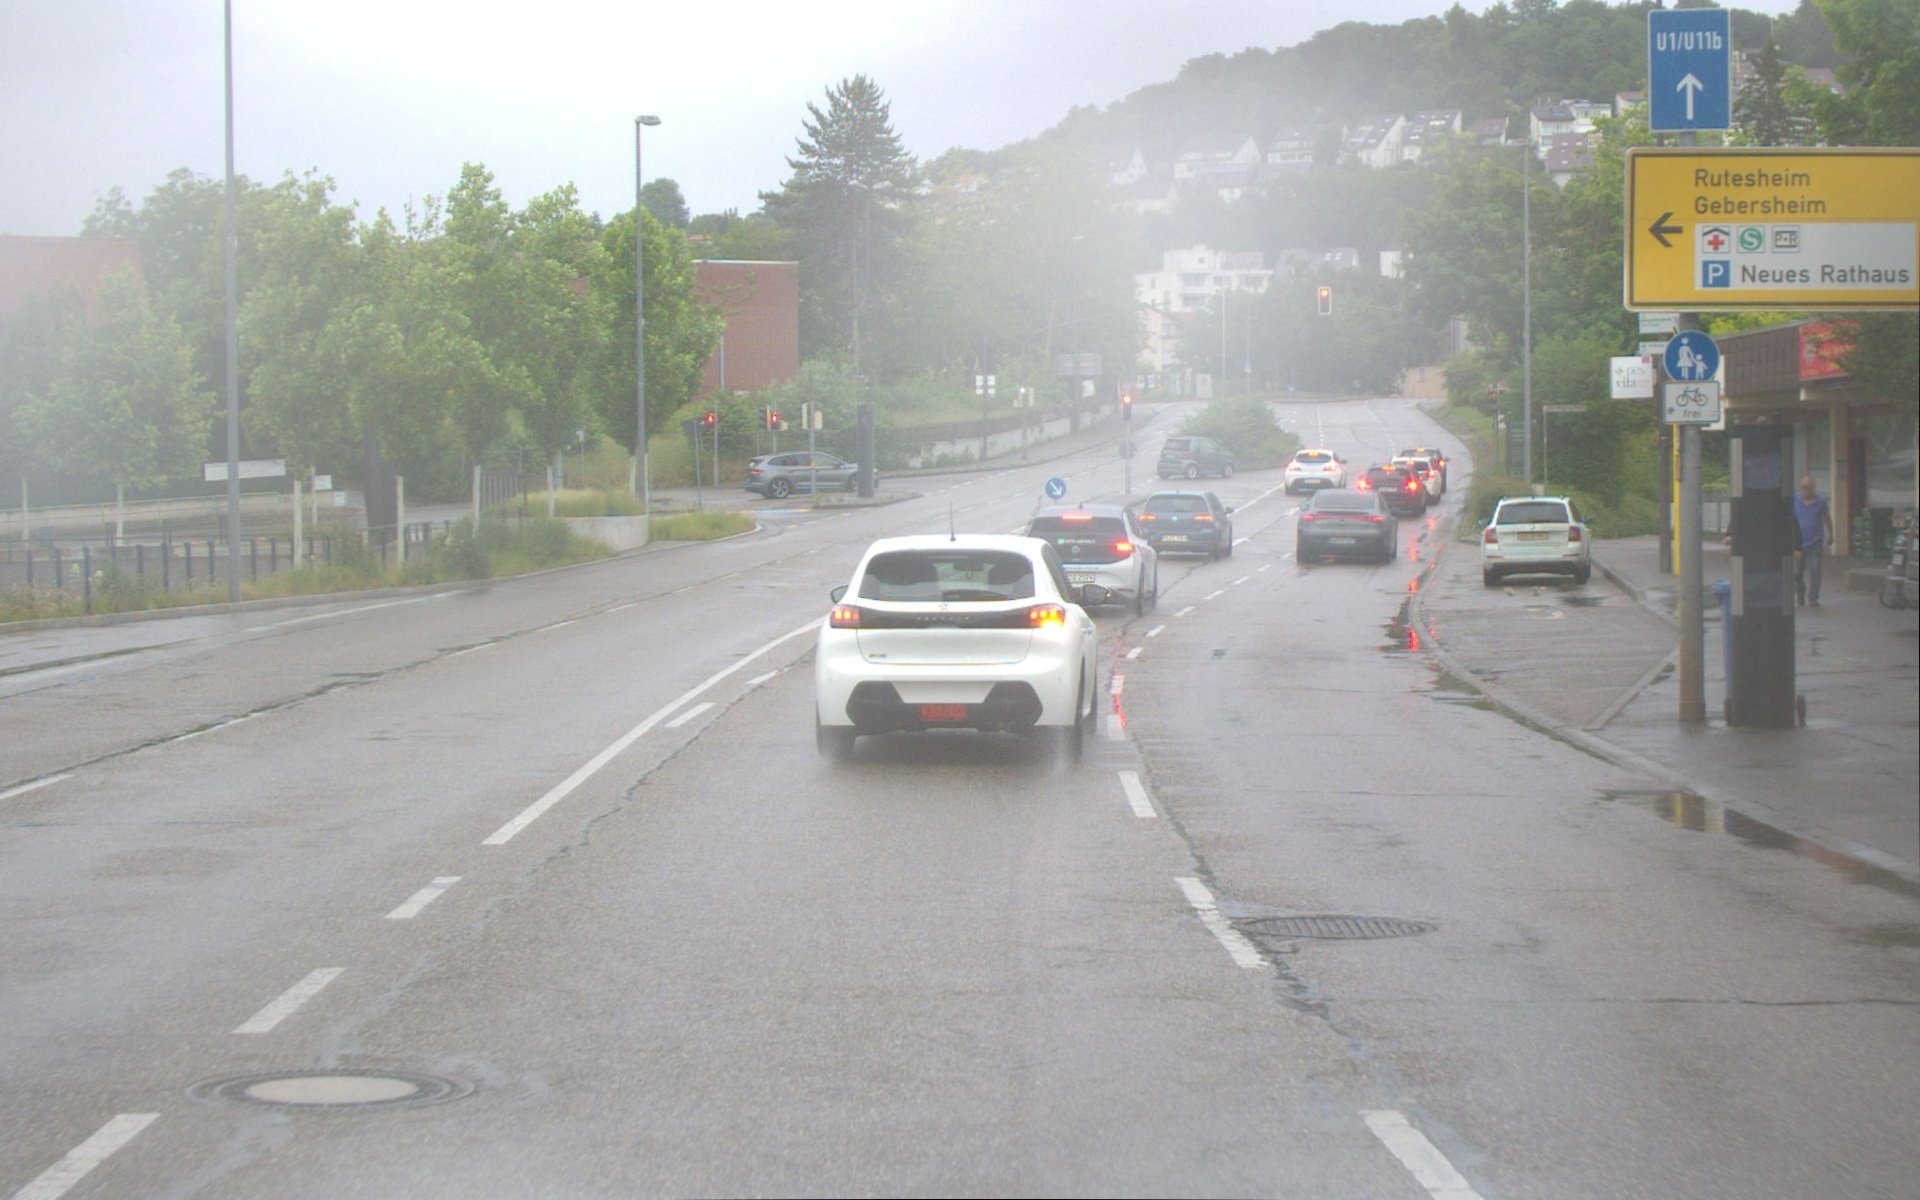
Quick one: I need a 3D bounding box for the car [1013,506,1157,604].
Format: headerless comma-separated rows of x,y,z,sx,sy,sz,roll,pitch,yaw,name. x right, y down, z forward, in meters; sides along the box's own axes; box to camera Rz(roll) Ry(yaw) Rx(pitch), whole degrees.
1.796,-0.642,48.344,1.742,1.291,3.333,-1,1,7,car

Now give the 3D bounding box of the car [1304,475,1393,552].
7.940,-1.796,70.511,1.734,1.383,3.352,1,5,5,car

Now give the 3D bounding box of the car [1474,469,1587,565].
9.771,-1.452,58.663,1.731,1.492,4.479,-2,2,11,car

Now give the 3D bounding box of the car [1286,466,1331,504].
11.415,-3.765,112.450,1.385,1.122,2.609,-1,0,7,car

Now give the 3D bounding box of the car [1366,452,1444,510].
12.704,-3.386,98.285,1.647,1.480,3.366,-1,0,-2,car

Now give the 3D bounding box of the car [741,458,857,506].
-5.524,-4.051,117.921,3.514,1.563,1.801,-1,0,-25,car

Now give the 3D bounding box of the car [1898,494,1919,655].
10.632,-0.272,30.840,3.987,1.442,1.746,-1,2,4,car

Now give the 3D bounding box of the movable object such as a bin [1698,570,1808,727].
5.699,0.342,24.721,0.636,1.070,0.698,-1,3,3,movable object such as a bin

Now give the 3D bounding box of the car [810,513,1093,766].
0.021,0.193,23.227,1.691,1.514,3.933,1,2,3,car

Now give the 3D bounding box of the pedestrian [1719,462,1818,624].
9.168,-0.640,38.984,0.708,1.815,0.797,-1,0,-27,pedestrian

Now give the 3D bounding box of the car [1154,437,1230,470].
8.464,-5.344,125.331,2.419,1.153,1.371,-1,0,-34,car

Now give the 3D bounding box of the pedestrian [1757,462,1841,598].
10.925,-0.919,44.775,0.875,1.731,0.760,-2,2,2,pedestrian

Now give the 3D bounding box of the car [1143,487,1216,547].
4.529,-1.696,70.730,1.213,1.152,2.269,-1,0,11,car

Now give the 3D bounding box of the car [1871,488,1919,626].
12.093,-0.521,36.910,4.148,1.449,1.803,-1,1,2,car

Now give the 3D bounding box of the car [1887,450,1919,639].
11.542,-0.618,34.330,4.095,1.864,1.876,-1,2,4,car
